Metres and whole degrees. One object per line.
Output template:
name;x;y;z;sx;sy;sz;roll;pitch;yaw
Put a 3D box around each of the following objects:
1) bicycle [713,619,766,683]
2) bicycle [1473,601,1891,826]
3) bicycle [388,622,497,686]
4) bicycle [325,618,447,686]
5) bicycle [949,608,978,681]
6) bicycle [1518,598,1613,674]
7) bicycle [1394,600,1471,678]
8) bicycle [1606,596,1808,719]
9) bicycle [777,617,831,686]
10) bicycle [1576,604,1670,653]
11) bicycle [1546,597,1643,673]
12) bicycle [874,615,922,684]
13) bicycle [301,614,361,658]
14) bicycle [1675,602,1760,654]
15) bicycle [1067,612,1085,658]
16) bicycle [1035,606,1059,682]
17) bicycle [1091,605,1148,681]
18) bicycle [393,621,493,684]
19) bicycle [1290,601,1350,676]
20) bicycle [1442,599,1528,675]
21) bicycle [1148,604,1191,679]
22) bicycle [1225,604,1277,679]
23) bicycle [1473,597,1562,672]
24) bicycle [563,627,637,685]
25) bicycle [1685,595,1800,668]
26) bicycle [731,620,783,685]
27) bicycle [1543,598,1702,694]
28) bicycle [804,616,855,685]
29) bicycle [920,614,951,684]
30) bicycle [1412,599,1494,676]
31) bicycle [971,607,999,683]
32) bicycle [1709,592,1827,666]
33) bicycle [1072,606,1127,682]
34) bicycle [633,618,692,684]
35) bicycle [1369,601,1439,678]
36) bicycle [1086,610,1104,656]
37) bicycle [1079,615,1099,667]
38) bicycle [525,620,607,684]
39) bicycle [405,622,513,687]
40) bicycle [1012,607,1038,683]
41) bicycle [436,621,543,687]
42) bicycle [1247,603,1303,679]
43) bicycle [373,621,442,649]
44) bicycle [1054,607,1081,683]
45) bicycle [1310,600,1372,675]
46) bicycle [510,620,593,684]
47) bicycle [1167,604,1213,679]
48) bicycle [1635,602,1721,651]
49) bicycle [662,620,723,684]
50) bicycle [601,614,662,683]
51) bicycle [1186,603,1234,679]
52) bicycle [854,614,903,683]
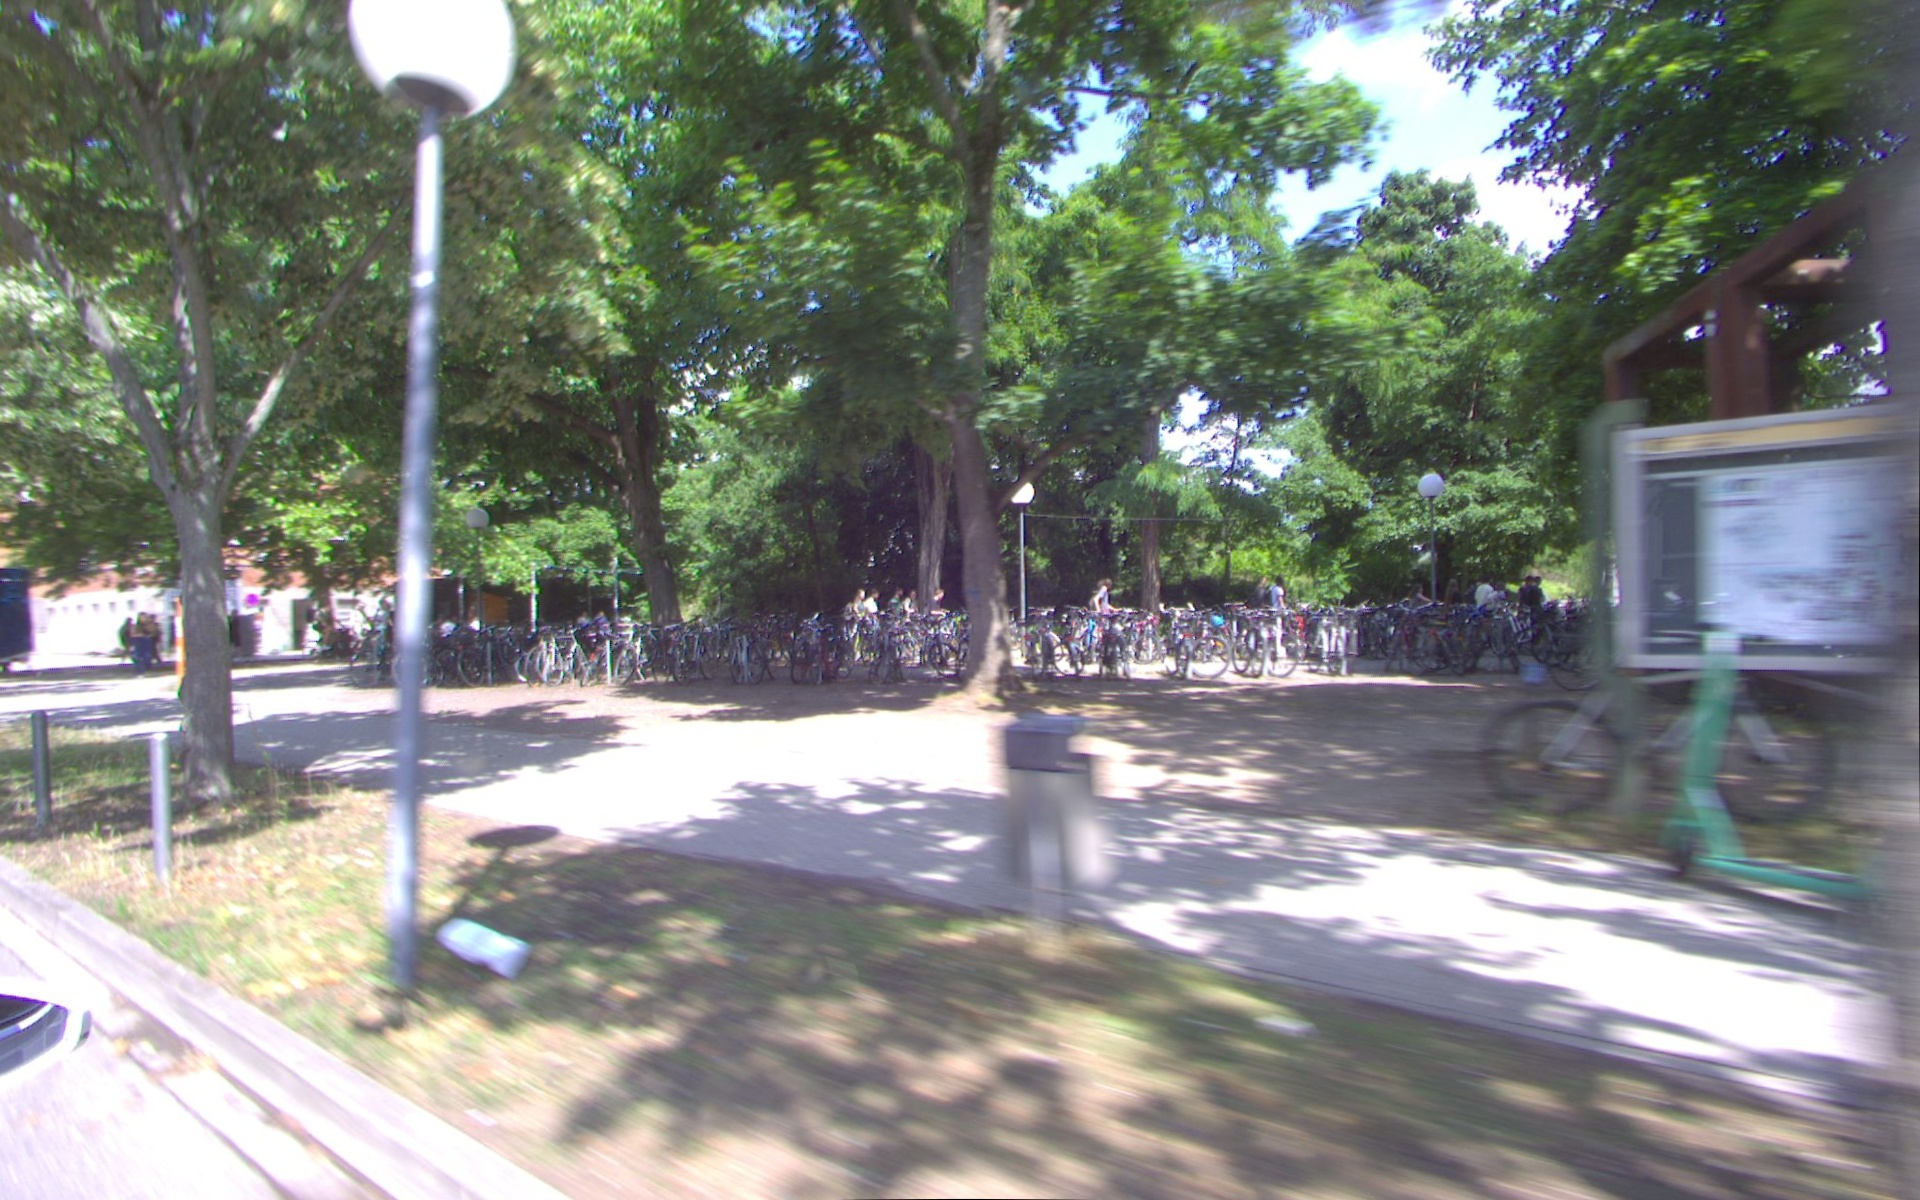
bicycle;-3.859;0.872;17.613;0.374;1.042;1.793;-1;0;5
bicycle;3.793;0.613;5.415;1.657;1.097;0.628;-3;-2;14
bicycle;-9.593;0.973;18.655;0.398;1.096;1.943;0;0;25
bicycle;-10.946;0.965;19.191;0.641;1.182;2.014;0;0;25
bicycle;0.068;0.740;17.327;0.395;1.186;1.793;-1;0;3
bicycle;9.998;0.564;16.597;0.405;1.186;1.845;-1;0;-2
bicycle;7.598;0.603;16.179;0.381;1.186;1.845;-1;0;1
bicycle;7.585;0.552;10.296;0.620;1.124;1.925;-2;-1;1
bicycle;-2.627;0.840;17.054;0.418;1.084;1.792;-1;0;7
bicycle;14.322;0.593;21.698;0.470;0.992;1.902;-2;0;-12
bicycle;10.485;0.556;16.616;0.405;1.186;1.845;-1;0;-2
bicycle;-1.024;0.807;16.876;0.418;1.084;1.792;-1;0;9
bicycle;-19.160;1.098;30.496;1.706;1.269;0.530;-1;2;17
bicycle;16.608;0.614;21.980;0.470;1.097;1.468;2;-2;-20
bicycle;2.738;0.802;23.565;0.371;0.992;1.903;-1;0;7
bicycle;1.440;0.695;16.736;0.339;1.186;1.845;-1;0;3
bicycle;2.630;0.681;16.644;0.339;1.186;1.844;-1;0;-10
bicycle;-9.810;0.979;19.065;0.431;1.096;1.767;0;0;25
bicycle;6.009;0.615;16.800;0.346;1.186;1.845;-1;0;1
bicycle;8.646;0.582;16.560;0.405;1.186;1.845;-1;0;-2
bicycle;3.480;0.663;16.735;0.338;1.186;1.845;-1;0;0
bicycle;4.864;0.663;16.806;0.346;1.186;1.845;-1;0;1
bicycle;9.307;0.551;16.786;0.405;1.186;1.845;-1;0;-2
bicycle;-6.405;0.977;17.891;0.485;0.921;1.738;-1;0;8
bicycle;13.418;0.522;17.230;0.339;1.186;1.844;-1;0;-7
bicycle;-3.519;0.884;17.480;0.374;1.042;1.793;-1;0;6
bicycle;8.280;0.564;12.544;1.638;1.124;0.476;-2;0;1
bicycle;-2.198;0.827;17.003;0.418;1.084;1.792;-1;0;7
bicycle;-0.404;0.797;16.933;0.418;1.084;1.793;-1;0;2
bicycle;8.045;0.577;16.429;0.381;1.186;1.845;-1;0;-2
bicycle;0.427;0.714;16.635;0.395;1.186;1.793;-1;0;3
bicycle;13.774;0.477;17.138;0.339;1.186;1.844;-1;0;-7
bicycle;2.287;0.696;16.577;0.339;1.186;1.844;-1;0;-10
bicycle;-5.216;0.872;17.646;0.485;1.066;1.738;-1;0;1
bicycle;7.222;0.608;16.361;0.346;1.186;1.845;-1;0;1
bicycle;3.156;0.762;23.422;0.371;0.992;1.903;-1;0;7
bicycle;2.685;0.827;20.881;0.371;0.992;1.903;-1;0;7
bicycle;-7.146;0.916;18.236;0.319;1.073;1.911;-1;0;14
bicycle;-9.207;0.974;18.479;0.398;1.096;1.943;0;0;25
bicycle;1.082;0.721;16.858;0.395;1.186;1.845;-1;0;3
bicycle;-8.542;0.947;18.262;0.398;1.096;1.943;0;0;25
bicycle;5.231;0.652;16.709;0.346;1.186;1.845;-1;0;1
bicycle;-22.699;1.432;41.180;2.378;1.085;0.776;1;-2;-41
bicycle;1.786;0.709;16.698;0.339;1.186;1.845;-1;0;3
bicycle;6.360;0.604;16.799;0.346;1.186;1.845;-1;0;1
bicycle;-7.438;0.923;18.323;0.319;1.073;1.911;-1;0;14
bicycle;3.820;0.658;16.730;0.338;1.186;1.845;-1;0;1
bicycle;15.507;0.554;21.689;0.469;0.992;1.903;-2;0;0
bicycle;-4.734;0.898;17.827;0.432;1.042;1.796;-1;0;5
bicycle;-5.890;0.842;18.058;0.485;1.170;1.738;-1;0;1
bicycle;4.152;0.647;16.724;0.338;1.186;1.845;-1;0;1
bicycle;-1.381;0.806;17.218;0.418;1.084;1.792;-1;0;9
